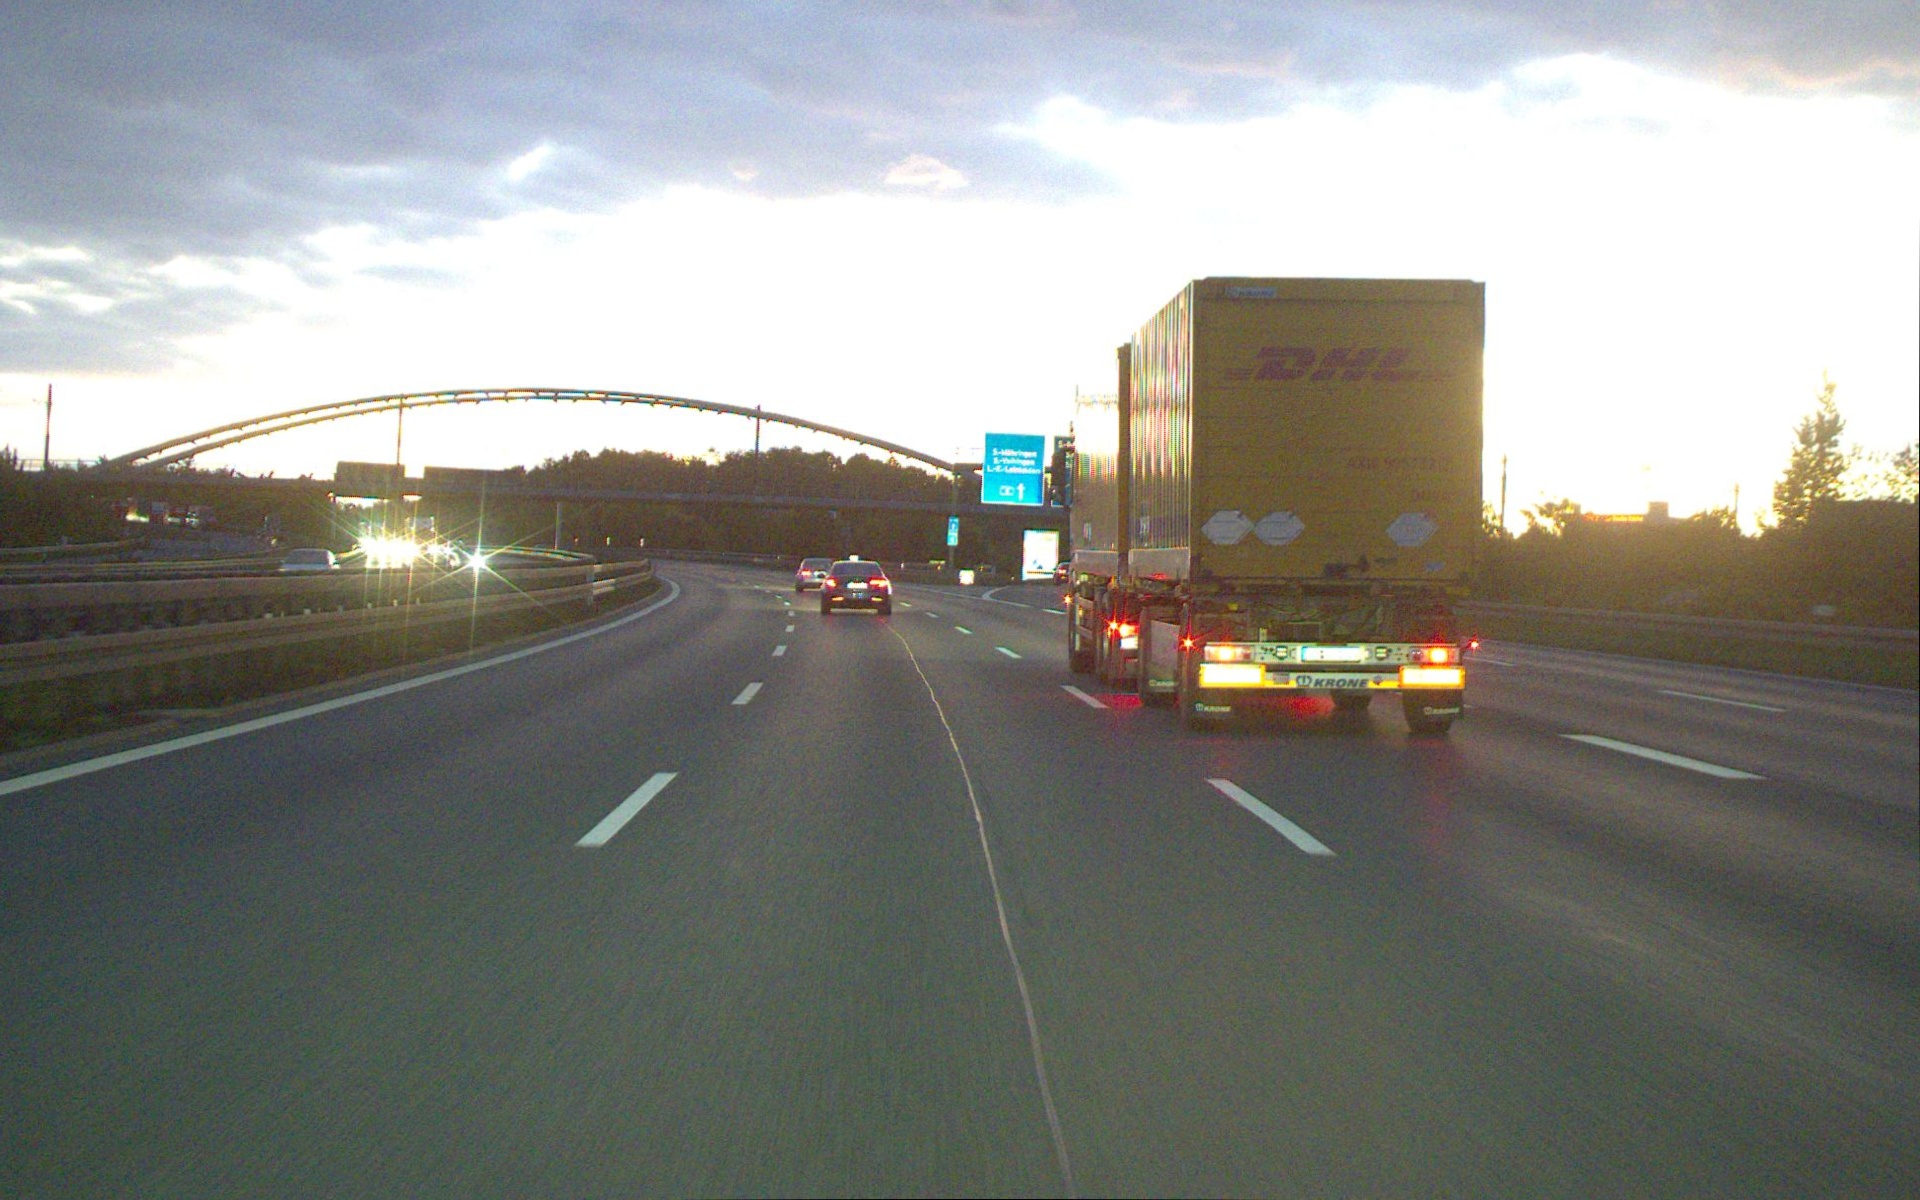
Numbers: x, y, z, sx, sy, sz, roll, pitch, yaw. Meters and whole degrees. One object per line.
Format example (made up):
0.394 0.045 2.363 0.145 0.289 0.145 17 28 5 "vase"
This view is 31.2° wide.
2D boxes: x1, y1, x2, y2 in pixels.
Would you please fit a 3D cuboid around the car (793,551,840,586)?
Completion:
-6.091 -1.339 146.601 1.689 1.397 3.408 0 -1 3 "car"

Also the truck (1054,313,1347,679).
2.839 -1.280 43.726 2.690 4.057 10.521 1 1 -1 "truck"

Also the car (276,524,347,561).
-21.922 -1.959 116.387 1.721 1.223 4.183 1 1 -2 "car"

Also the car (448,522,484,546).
-29.810 -3.991 207.669 1.993 1.399 4.799 1 1 -7 "car"

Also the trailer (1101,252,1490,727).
3.072 -1.051 34.046 2.721 4.057 8.832 1 1 -1 "trailer"

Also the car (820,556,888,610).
-2.864 -0.450 92.132 1.689 1.396 3.409 1 0 -3 "car"

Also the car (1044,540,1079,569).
6.506 -2.906 220.334 1.994 1.711 3.999 1 -1 5 "car"
